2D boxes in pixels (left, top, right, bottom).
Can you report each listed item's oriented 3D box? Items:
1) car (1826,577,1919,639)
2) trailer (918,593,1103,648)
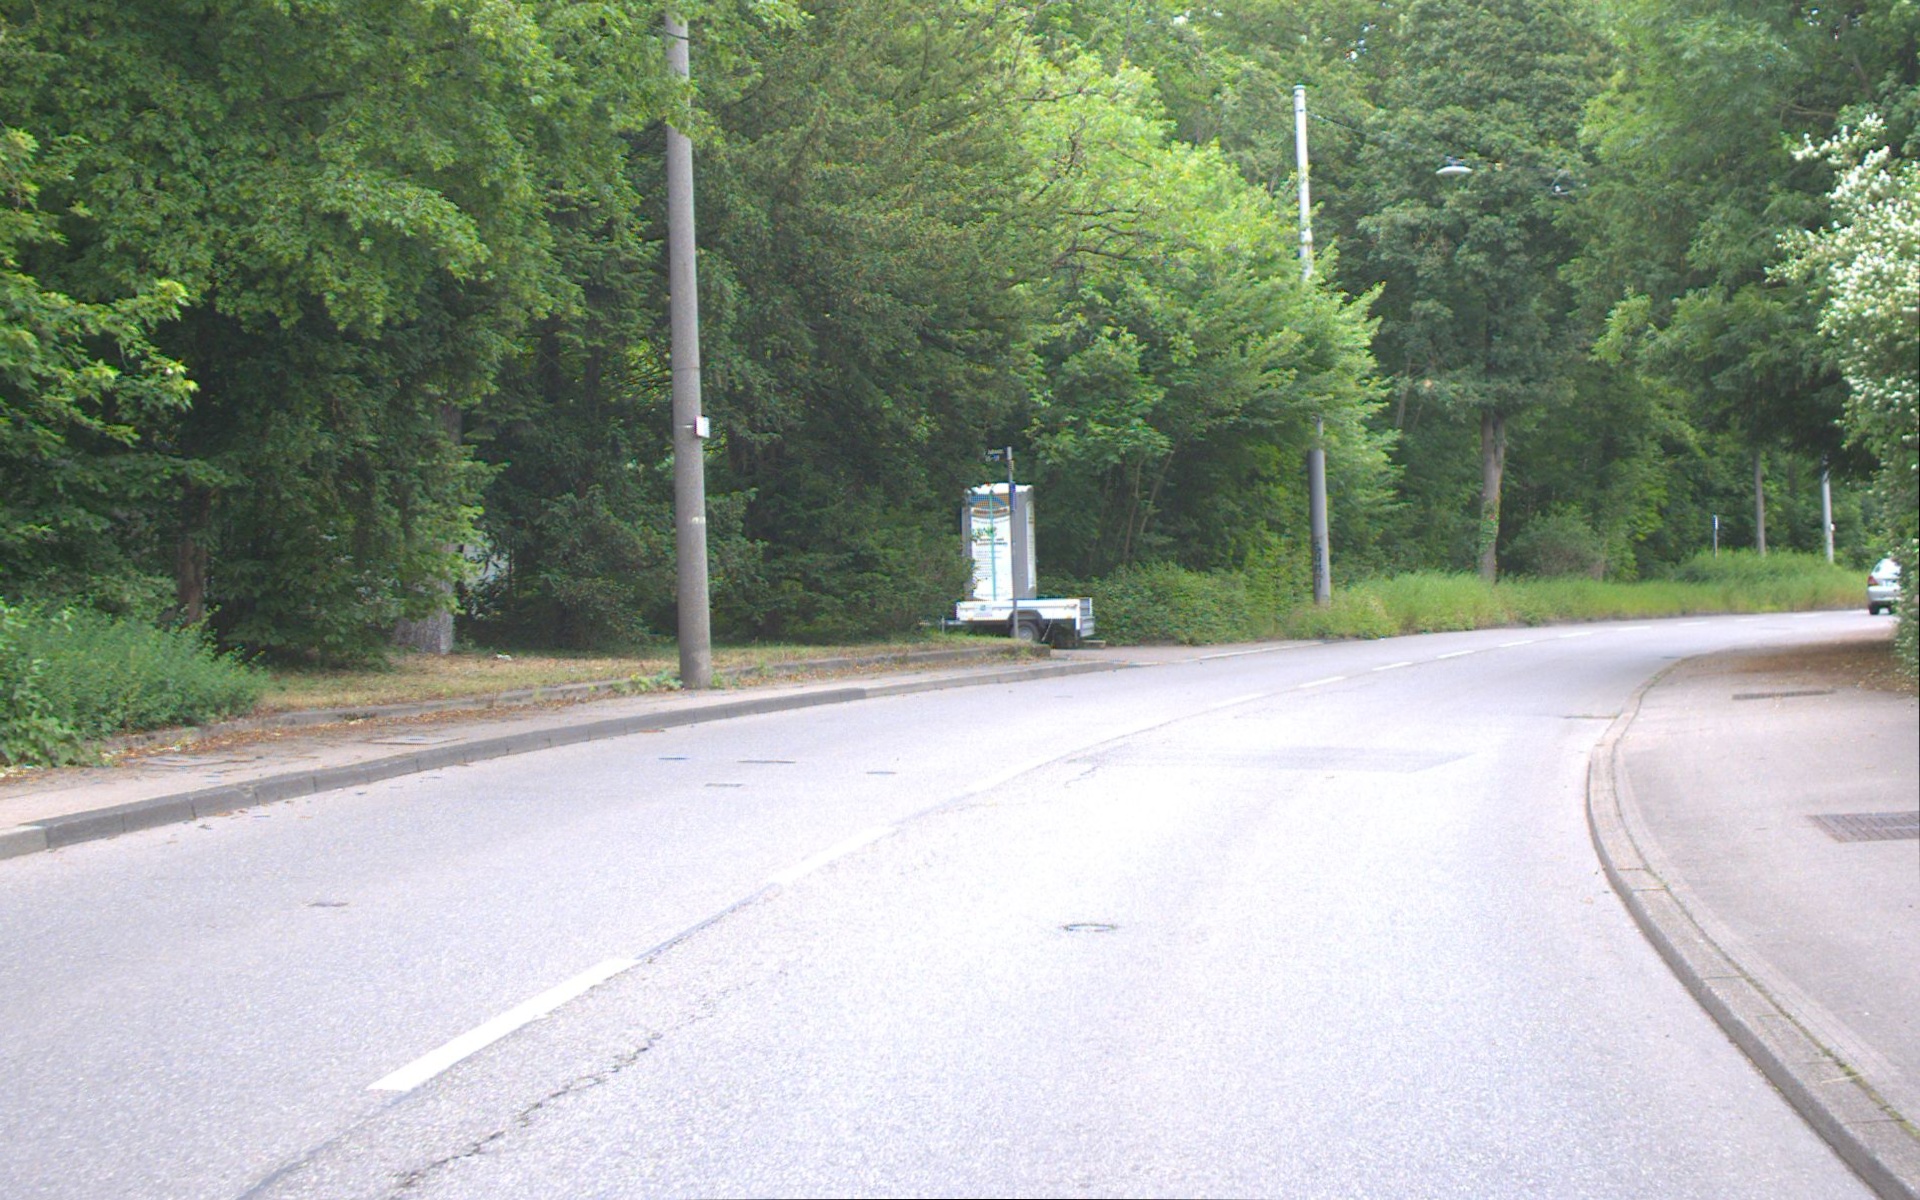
[{"bbox_3d":[23.363,0.187,86.833,1.996,1.481,3.994,-1,0,28],"label":"car"},{"bbox_3d":[0.862,0.340,57.468,2.955,0.826,1.475,-1,0,5],"label":"trailer"}]
